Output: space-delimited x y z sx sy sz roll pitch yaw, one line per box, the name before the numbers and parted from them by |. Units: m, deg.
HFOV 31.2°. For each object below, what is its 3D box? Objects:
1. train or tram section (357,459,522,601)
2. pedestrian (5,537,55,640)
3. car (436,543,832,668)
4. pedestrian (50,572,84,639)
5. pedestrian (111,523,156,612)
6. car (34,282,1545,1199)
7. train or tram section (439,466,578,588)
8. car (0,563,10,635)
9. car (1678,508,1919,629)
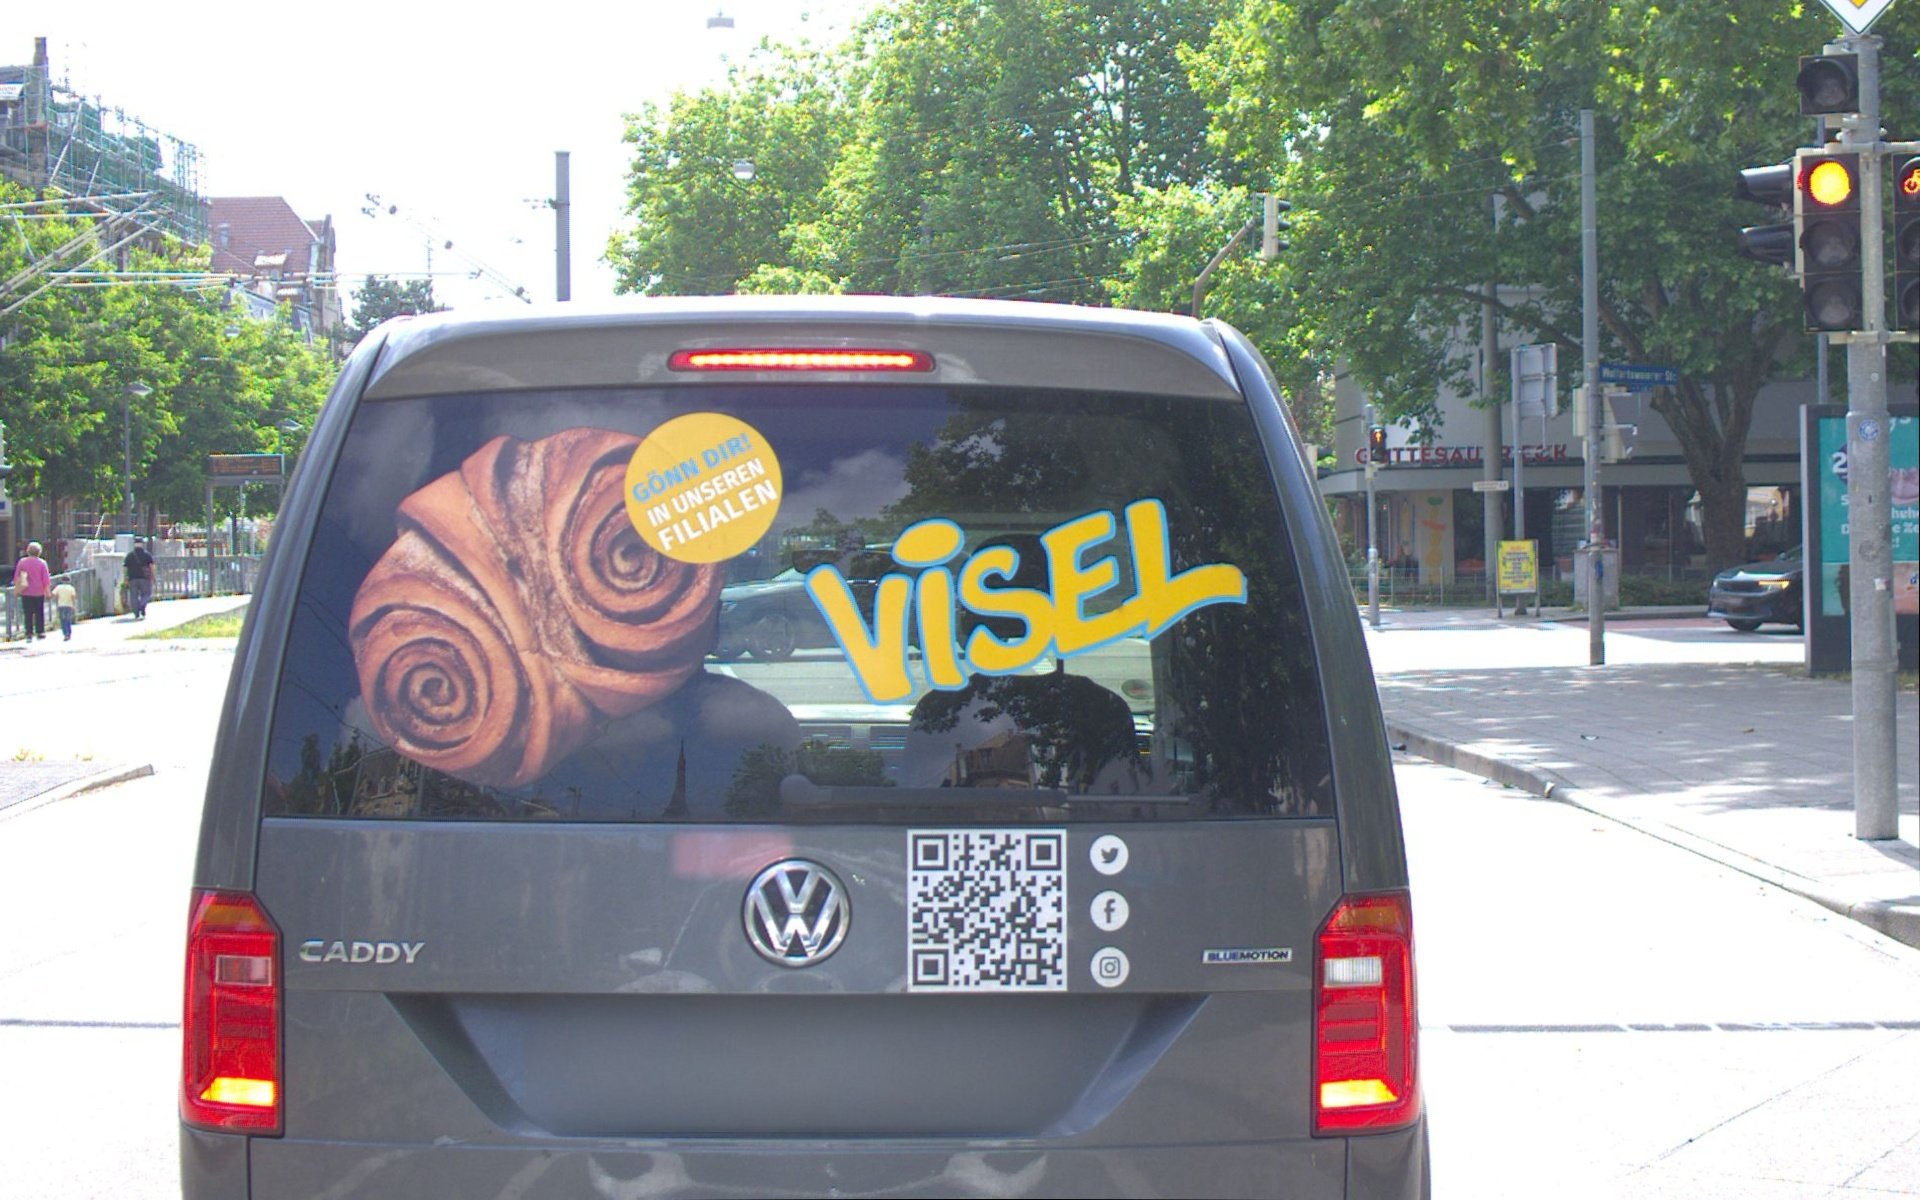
train or tram section | -13.215 -1.802 88.316 2.240 3.320 12.972 -1 1 0
pedestrian | -16.151 -0.204 59.722 0.659 1.778 0.660 -1 1 0
car | -3.982 0.042 42.061 4.480 1.385 1.707 -2 1 -24
pedestrian | -15.505 0.092 59.689 0.463 1.140 0.435 -1 1 0
pedestrian | -15.782 -0.622 65.656 0.659 1.679 0.655 -1 1 0
car | -0.211 0.502 5.743 1.750 1.802 3.475 0 1 0
train or tram section | -13.228 -2.160 101.774 2.240 3.320 14.014 -1 1 0
car | -27.779 0.013 94.865 1.993 2.007 4.000 -1 1 0
car | 12.578 -0.476 48.610 4.479 1.596 1.864 -2 1 -23
